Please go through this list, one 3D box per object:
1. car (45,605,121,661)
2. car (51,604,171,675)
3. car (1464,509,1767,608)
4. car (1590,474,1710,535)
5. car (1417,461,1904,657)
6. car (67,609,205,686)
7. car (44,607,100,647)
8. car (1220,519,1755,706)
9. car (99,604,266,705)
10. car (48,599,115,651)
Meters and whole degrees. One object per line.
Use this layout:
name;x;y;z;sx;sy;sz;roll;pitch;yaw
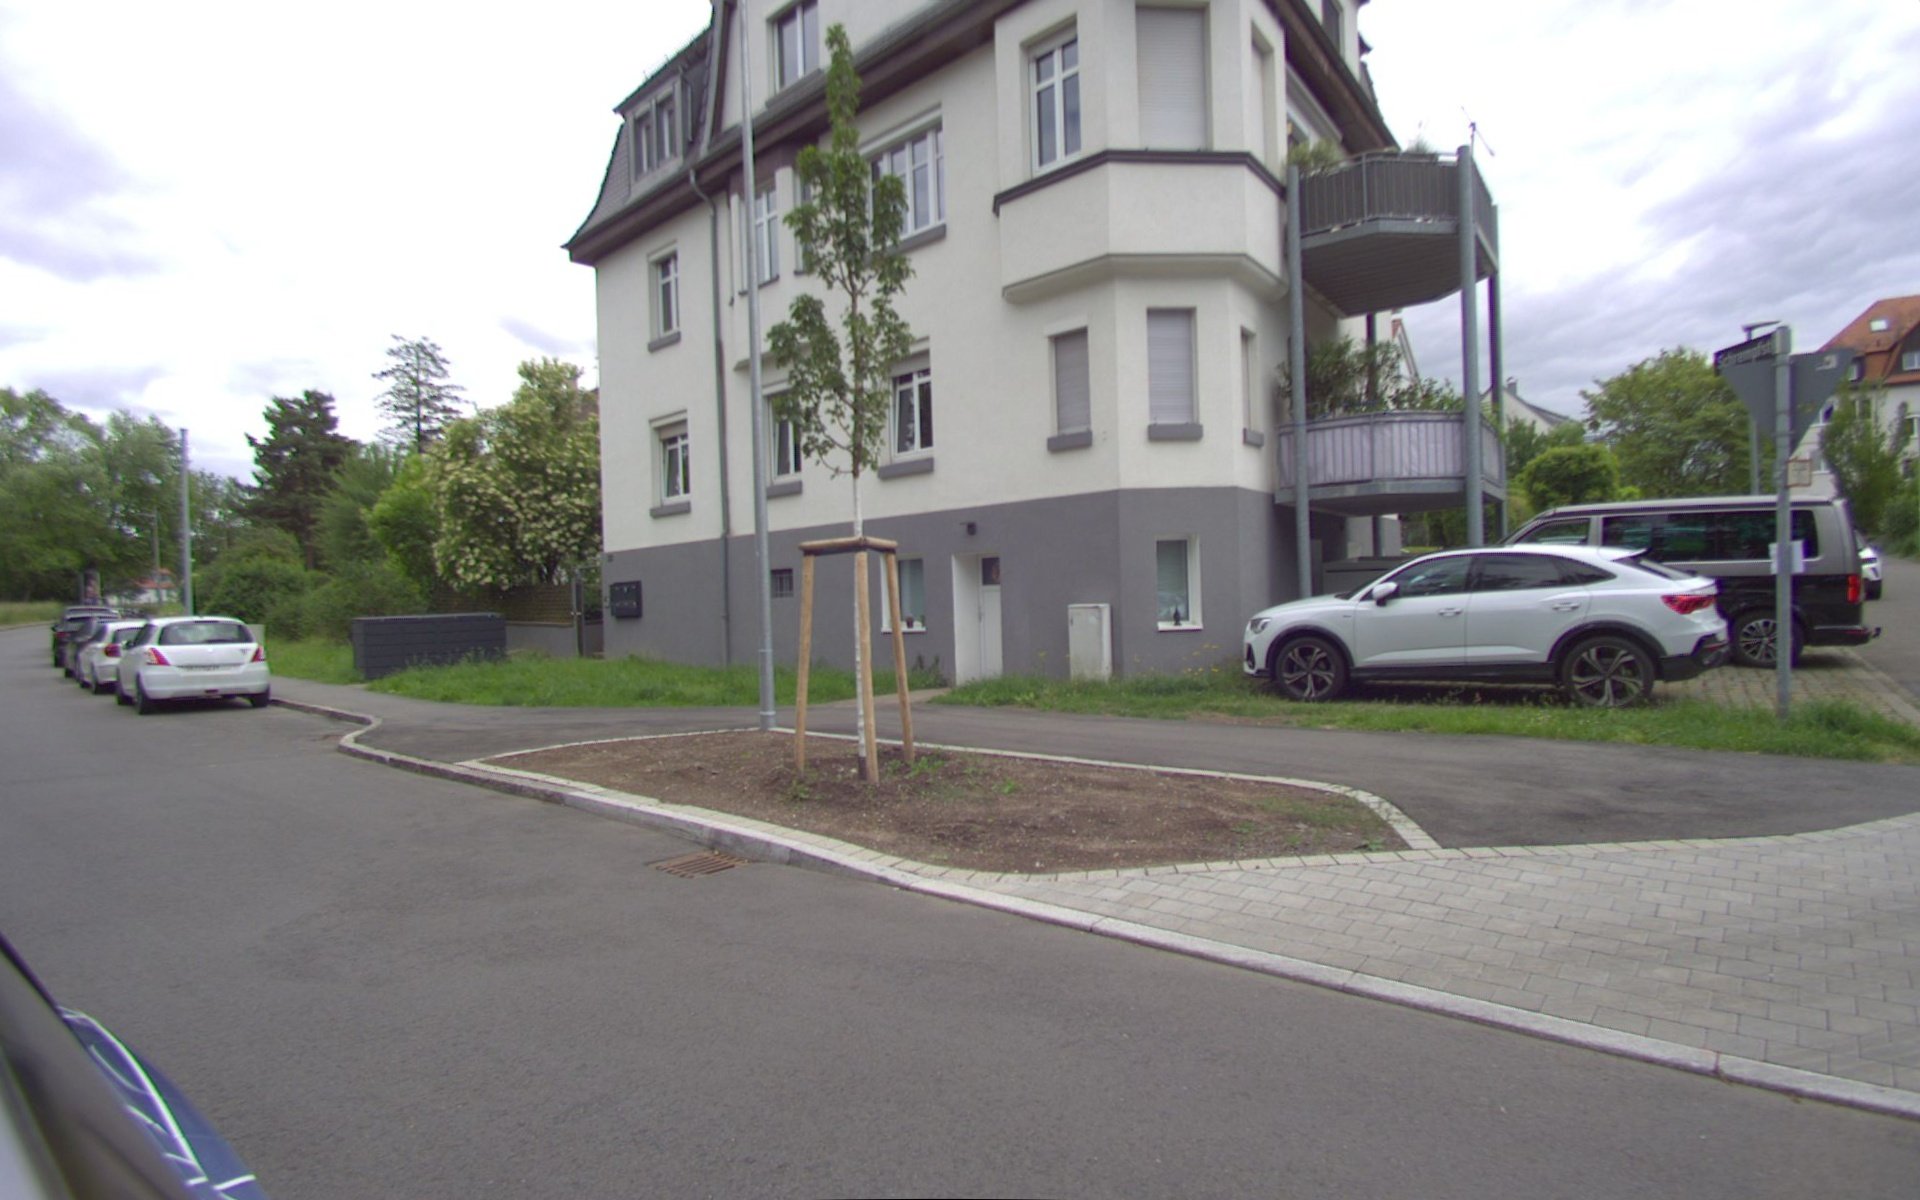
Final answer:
car;-26.936;0.952;31.048;1.641;1.594;4.082;1;0;-42
car;-20.909;0.952;24.863;4.815;1.585;1.707;-2;-2;43
car;11.481;-0.687;17.941;4.313;1.509;1.666;-1;2;36
car;28.191;-3.843;41.398;3.993;2.131;1.949;0;0;37
car;8.568;-0.497;12.839;4.755;2.066;1.889;0;4;36
car;-17.210;0.905;21.042;4.728;1.400;1.705;0;0;44
car;-36.285;1.073;41.433;1.641;1.517;4.051;1;0;-40
car;5.249;0.042;10.474;4.589;1.544;1.889;0;4;36
car;-13.107;0.844;16.976;4.071;1.481;1.624;-1;-1;44
car;-32.613;0.873;37.551;1.774;1.814;4.069;1;0;-42
